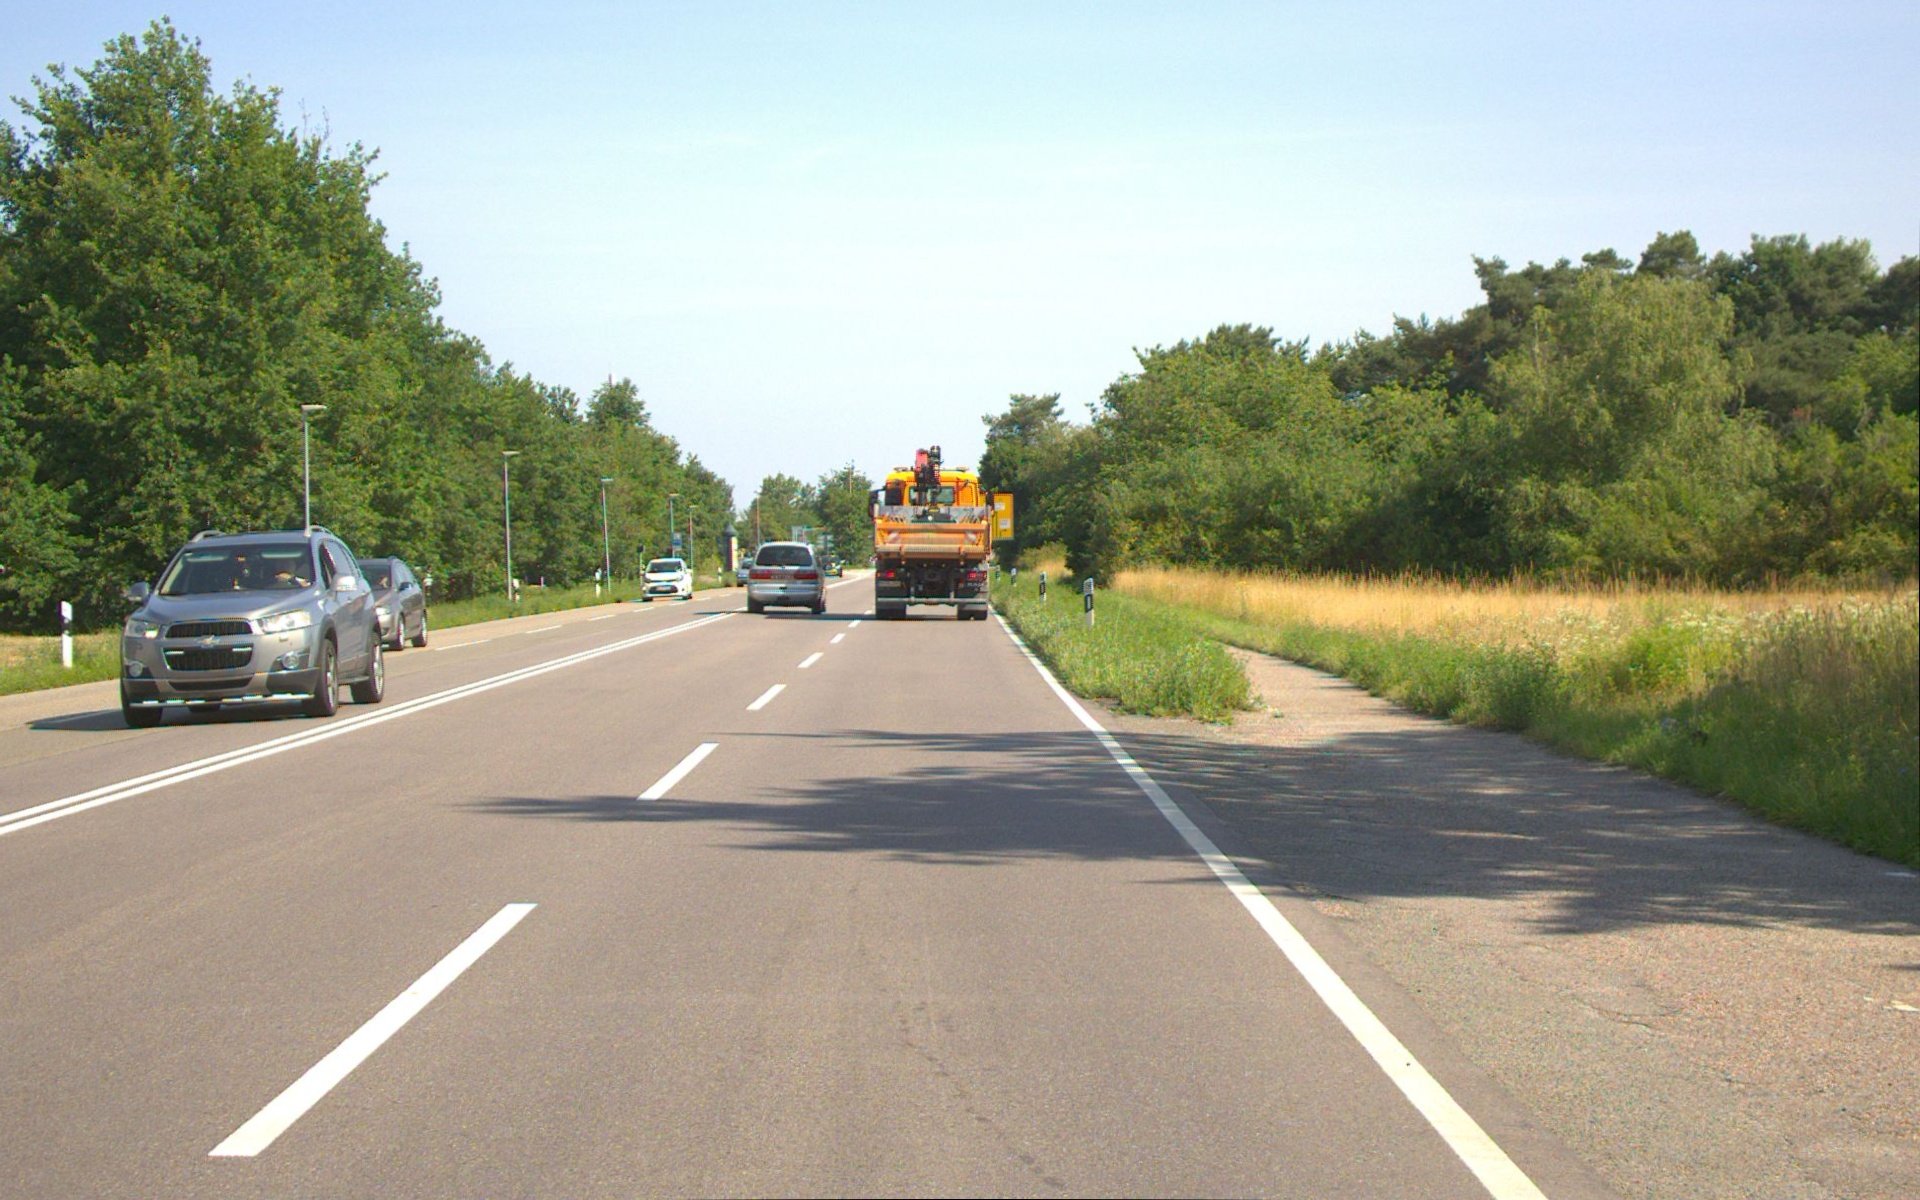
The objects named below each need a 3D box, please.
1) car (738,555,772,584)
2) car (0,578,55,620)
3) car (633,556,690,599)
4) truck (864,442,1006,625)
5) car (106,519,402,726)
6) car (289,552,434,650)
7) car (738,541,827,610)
[{"bbox_3d":[-10.979,-1.646,184.263,1.598,1.437,4.000,-3,1,-1],"label":"car"},{"bbox_3d":[-32.308,-0.040,117.282,1.787,1.345,4.664,-2,1,-3],"label":"car"},{"bbox_3d":[-10.533,-0.806,121.604,1.659,1.432,3.736,-3,1,-1],"label":"car"},{"bbox_3d":[-0.642,-1.469,77.355,2.871,3.867,7.400,1,1,-3],"label":"truck"},{"bbox_3d":[-6.481,0.158,32.054,1.771,1.708,4.569,-3,1,0],"label":"car"},{"bbox_3d":[-10.044,-0.015,57.939,1.729,1.555,4.215,1,1,-1],"label":"car"},{"bbox_3d":[-4.213,-0.605,82.047,1.993,1.578,4.000,-1,1,-2],"label":"car"}]
